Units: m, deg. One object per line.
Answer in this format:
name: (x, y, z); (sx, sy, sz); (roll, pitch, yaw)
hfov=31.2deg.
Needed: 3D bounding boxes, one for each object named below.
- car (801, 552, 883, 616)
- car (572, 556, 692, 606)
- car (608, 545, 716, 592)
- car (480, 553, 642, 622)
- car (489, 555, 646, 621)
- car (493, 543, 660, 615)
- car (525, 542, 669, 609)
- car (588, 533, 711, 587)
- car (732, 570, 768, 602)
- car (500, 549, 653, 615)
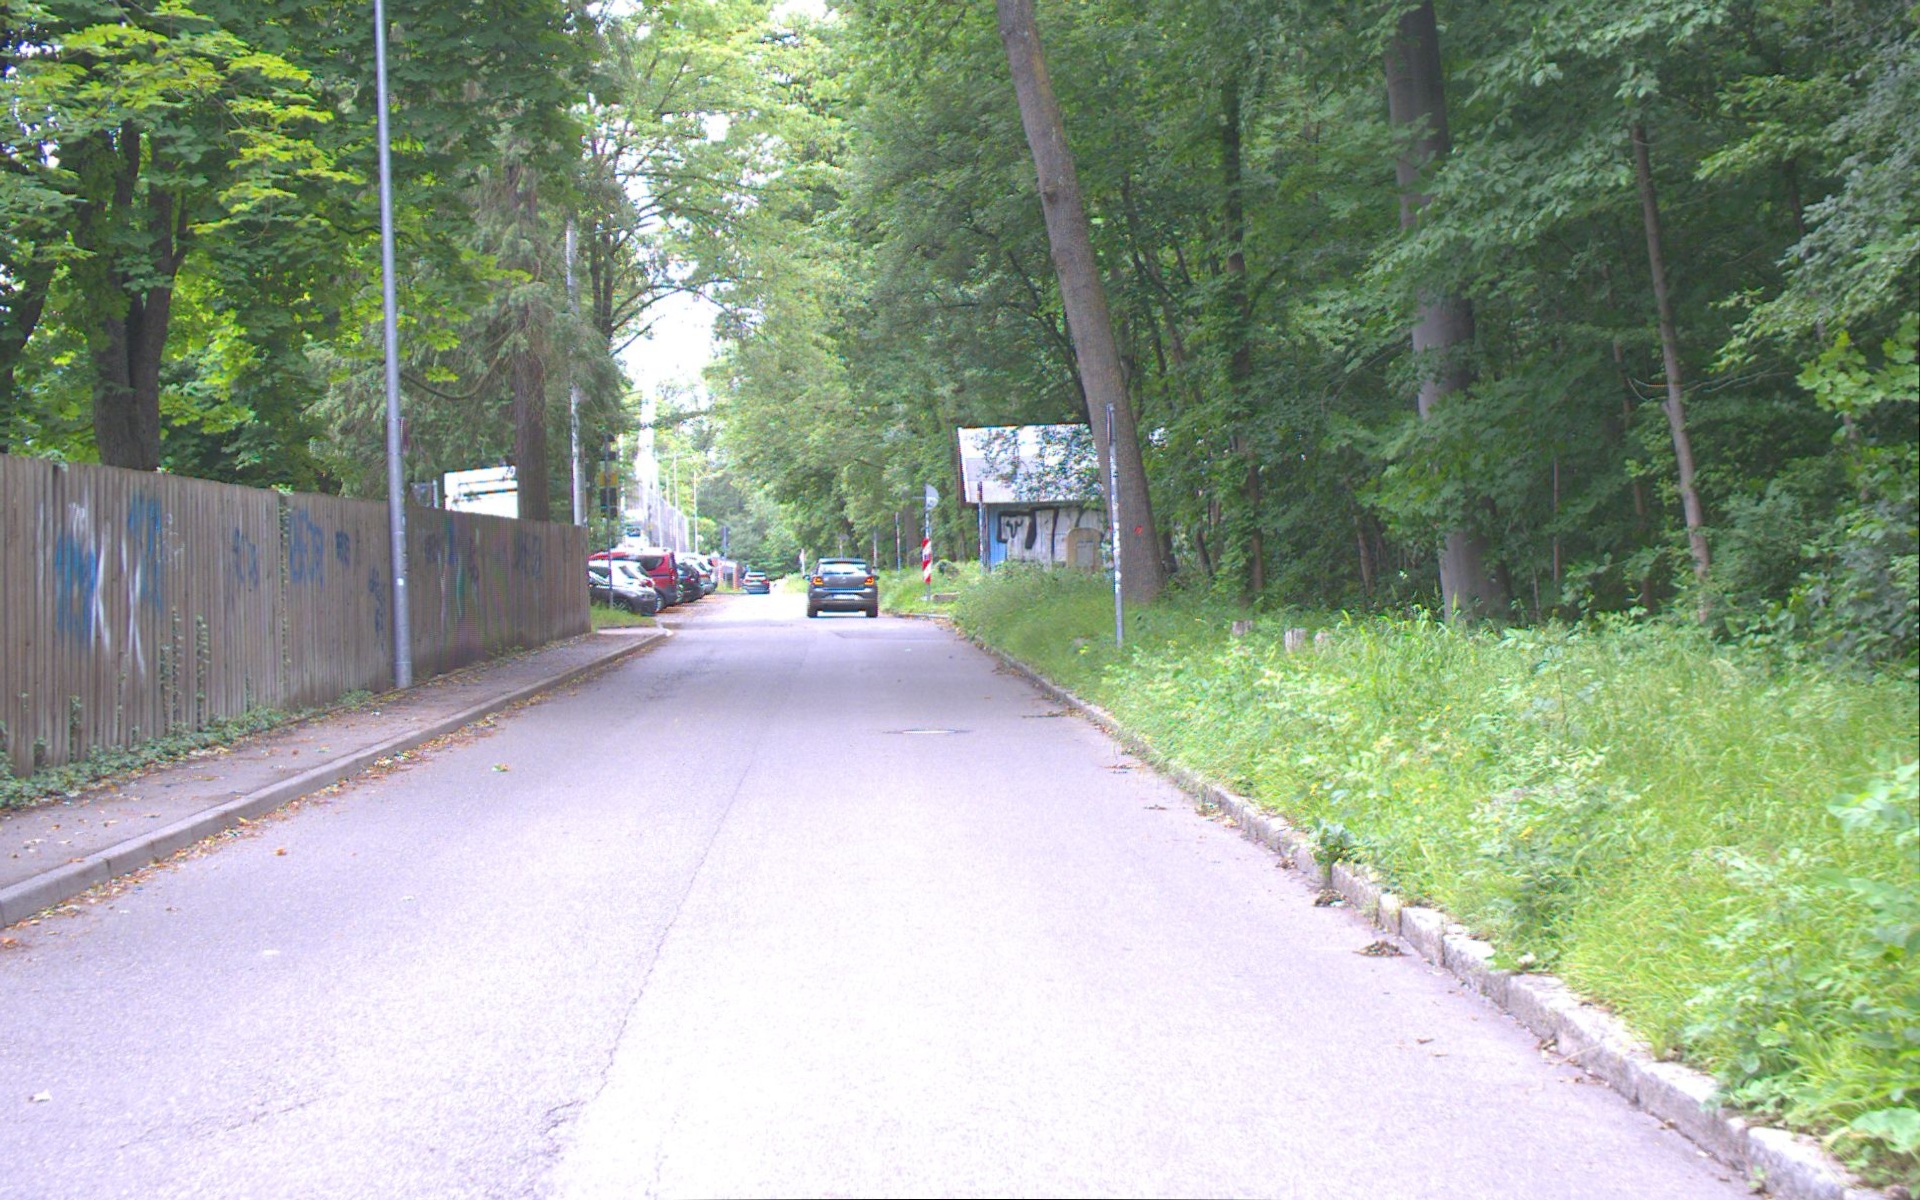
car: (-2.858, -0.380, 83.819); (1.908, 1.503, 4.000); (1, 0, -1)
car: (-10.205, -0.578, 106.997); (3.572, 1.402, 1.650); (-2, 0, -2)
car: (-11.510, -1.205, 132.762); (3.987, 1.590, 1.765); (-3, 0, -2)
car: (-10.095, -0.326, 87.193); (3.986, 1.568, 2.000); (-2, 1, -6)
car: (-10.221, -0.326, 89.727); (3.986, 1.568, 2.000); (-2, 1, -6)
car: (-9.447, -0.532, 84.881); (3.986, 1.568, 2.000); (-3, 1, -6)
car: (-10.328, -0.701, 97.975); (3.986, 1.744, 2.000); (-2, 1, -6)
car: (-10.528, -1.342, 116.594); (3.987, 1.590, 1.765); (-3, 0, -2)
car: (-13.674, -0.938, 224.088); (1.993, 2.007, 4.001); (-2, 1, -7)
car: (-10.341, -0.492, 92.815); (3.986, 1.568, 2.000); (-3, 1, -6)
